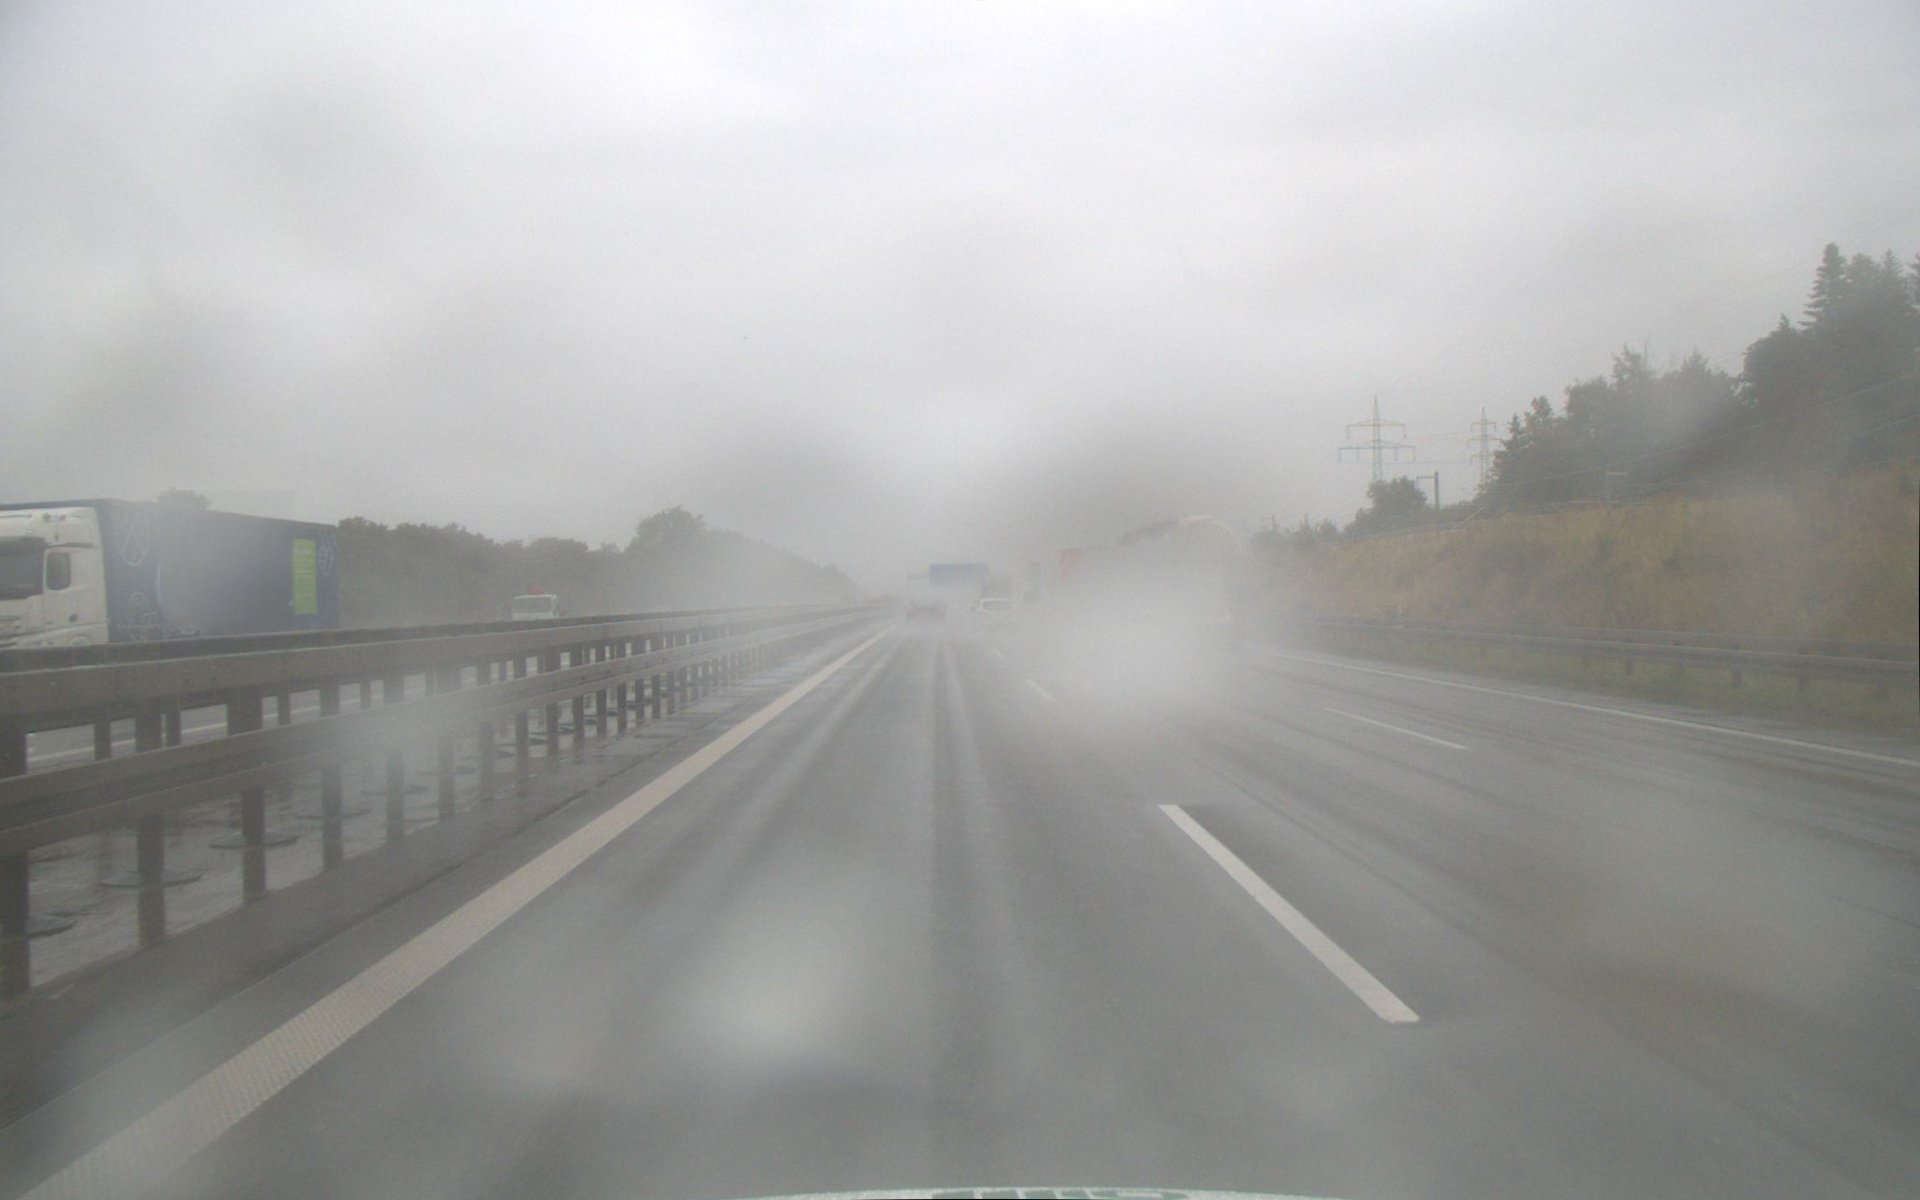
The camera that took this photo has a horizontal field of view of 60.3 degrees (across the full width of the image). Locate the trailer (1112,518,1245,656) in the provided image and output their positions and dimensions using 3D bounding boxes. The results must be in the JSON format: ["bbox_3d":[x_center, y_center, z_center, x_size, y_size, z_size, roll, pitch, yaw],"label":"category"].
[{"bbox_3d":[6.828,-0.387,53.267,2.447,3.950,11.062,1,0,-2],"label":"trailer"}]

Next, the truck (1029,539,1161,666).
[{"bbox_3d":[2.857,0.056,36.320,2.370,2.536,5.559,1,0,-1],"label":"truck"}]

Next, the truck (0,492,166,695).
[{"bbox_3d":[-19.030,-0.131,34.237,2.569,3.872,5.399,1,0,-1],"label":"truck"}]

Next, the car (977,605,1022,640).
[{"bbox_3d":[1.546,0.877,66.051,1.573,1.361,3.847,1,0,-2],"label":"car"}]

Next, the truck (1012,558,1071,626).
[{"bbox_3d":[5.984,-0.437,124.428,2.979,4.669,16.342,1,-1,-2],"label":"truck"}]

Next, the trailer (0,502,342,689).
[{"bbox_3d":[-19.167,-0.098,41.178,2.580,3.871,13.582,1,0,-1],"label":"trailer"}]

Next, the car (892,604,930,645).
[{"bbox_3d":[-2.252,1.111,76.371,1.667,1.850,3.861,1,0,-1],"label":"car"}]

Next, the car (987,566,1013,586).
[{"bbox_3d":[4.447,-2.655,184.715,2.732,2.049,4.991,1,0,-2],"label":"car"}]

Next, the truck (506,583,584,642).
[{"bbox_3d":[-19.829,0.584,79.390,2.280,2.665,6.262,1,0,-1],"label":"truck"}]
